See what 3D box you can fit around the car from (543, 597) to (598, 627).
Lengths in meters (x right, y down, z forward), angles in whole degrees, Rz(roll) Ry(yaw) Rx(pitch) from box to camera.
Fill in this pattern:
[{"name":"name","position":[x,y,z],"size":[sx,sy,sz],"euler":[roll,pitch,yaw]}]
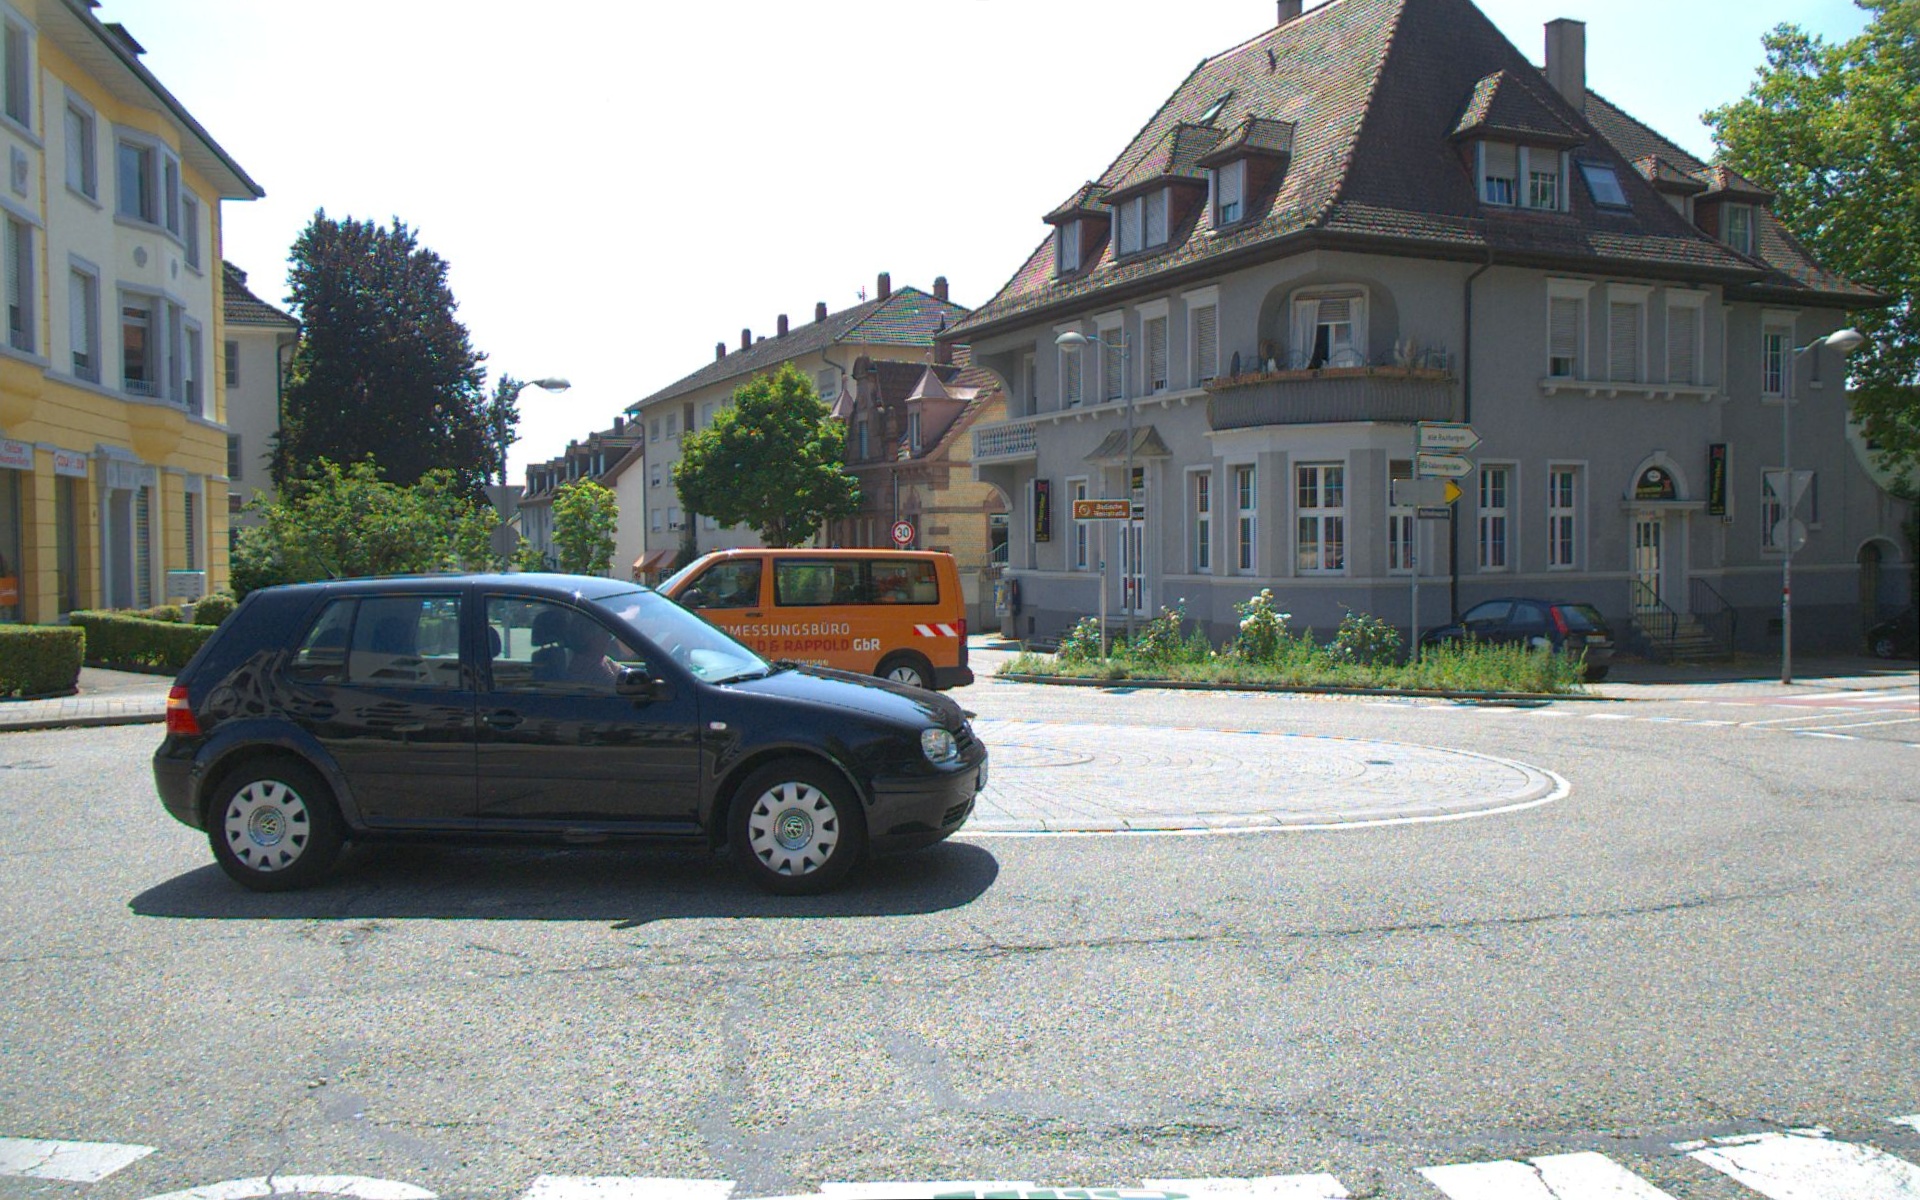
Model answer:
[{"name":"car","position":[-20.934,0.630,88.861],"size":[1.969,1.535,4.381],"euler":[0,0,-26]}]

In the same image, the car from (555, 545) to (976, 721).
[{"name":"car","position":[-2.408,0.346,20.267],"size":[4.919,1.993,1.944],"euler":[0,1,-14]}]

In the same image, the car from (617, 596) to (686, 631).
[{"name":"car","position":[-14.080,0.597,75.279],"size":[1.969,1.535,4.381],"euler":[0,0,-26]}]

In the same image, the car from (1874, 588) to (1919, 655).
[{"name":"car","position":[23.573,0.516,38.835],"size":[1.701,1.573,3.358],"euler":[0,0,-30]}]

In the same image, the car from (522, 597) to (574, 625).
[{"name":"car","position":[-23.509,0.609,94.283],"size":[1.969,1.535,4.381],"euler":[0,0,-26]}]

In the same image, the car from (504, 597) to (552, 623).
[{"name":"car","position":[-25.892,0.589,98.993],"size":[1.969,1.535,4.381],"euler":[0,0,-26]}]

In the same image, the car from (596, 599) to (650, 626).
[{"name":"car","position":[-19.147,0.687,93.948],"size":[1.969,1.535,4.381],"euler":[0,0,-26]}]

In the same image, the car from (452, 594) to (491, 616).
[{"name":"car","position":[-34.649,0.369,117.263],"size":[1.969,1.535,4.381],"euler":[0,0,-26]}]

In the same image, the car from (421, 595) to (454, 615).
[{"name":"car","position":[-41.952,0.379,132.715],"size":[1.969,1.514,3.967],"euler":[1,0,-26]}]

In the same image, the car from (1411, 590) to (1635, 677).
[{"name":"car","position":[10.313,0.571,30.528],"size":[1.700,1.486,3.754],"euler":[0,0,-30]}]

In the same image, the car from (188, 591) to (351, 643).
[{"name":"car","position":[-21.045,0.493,50.452],"size":[4.363,1.535,1.977],"euler":[0,0,-33]}]

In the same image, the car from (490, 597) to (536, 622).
[{"name":"car","position":[-27.915,0.575,103.259],"size":[1.969,1.535,4.381],"euler":[0,0,-26]}]

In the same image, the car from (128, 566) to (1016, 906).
[{"name":"car","position":[-1.766,0.610,8.298],"size":[3.959,1.472,1.718],"euler":[-1,2,6]}]

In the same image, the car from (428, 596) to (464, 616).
[{"name":"car","position":[-39.797,0.432,127.982],"size":[1.969,1.535,4.381],"euler":[0,0,-26]}]
